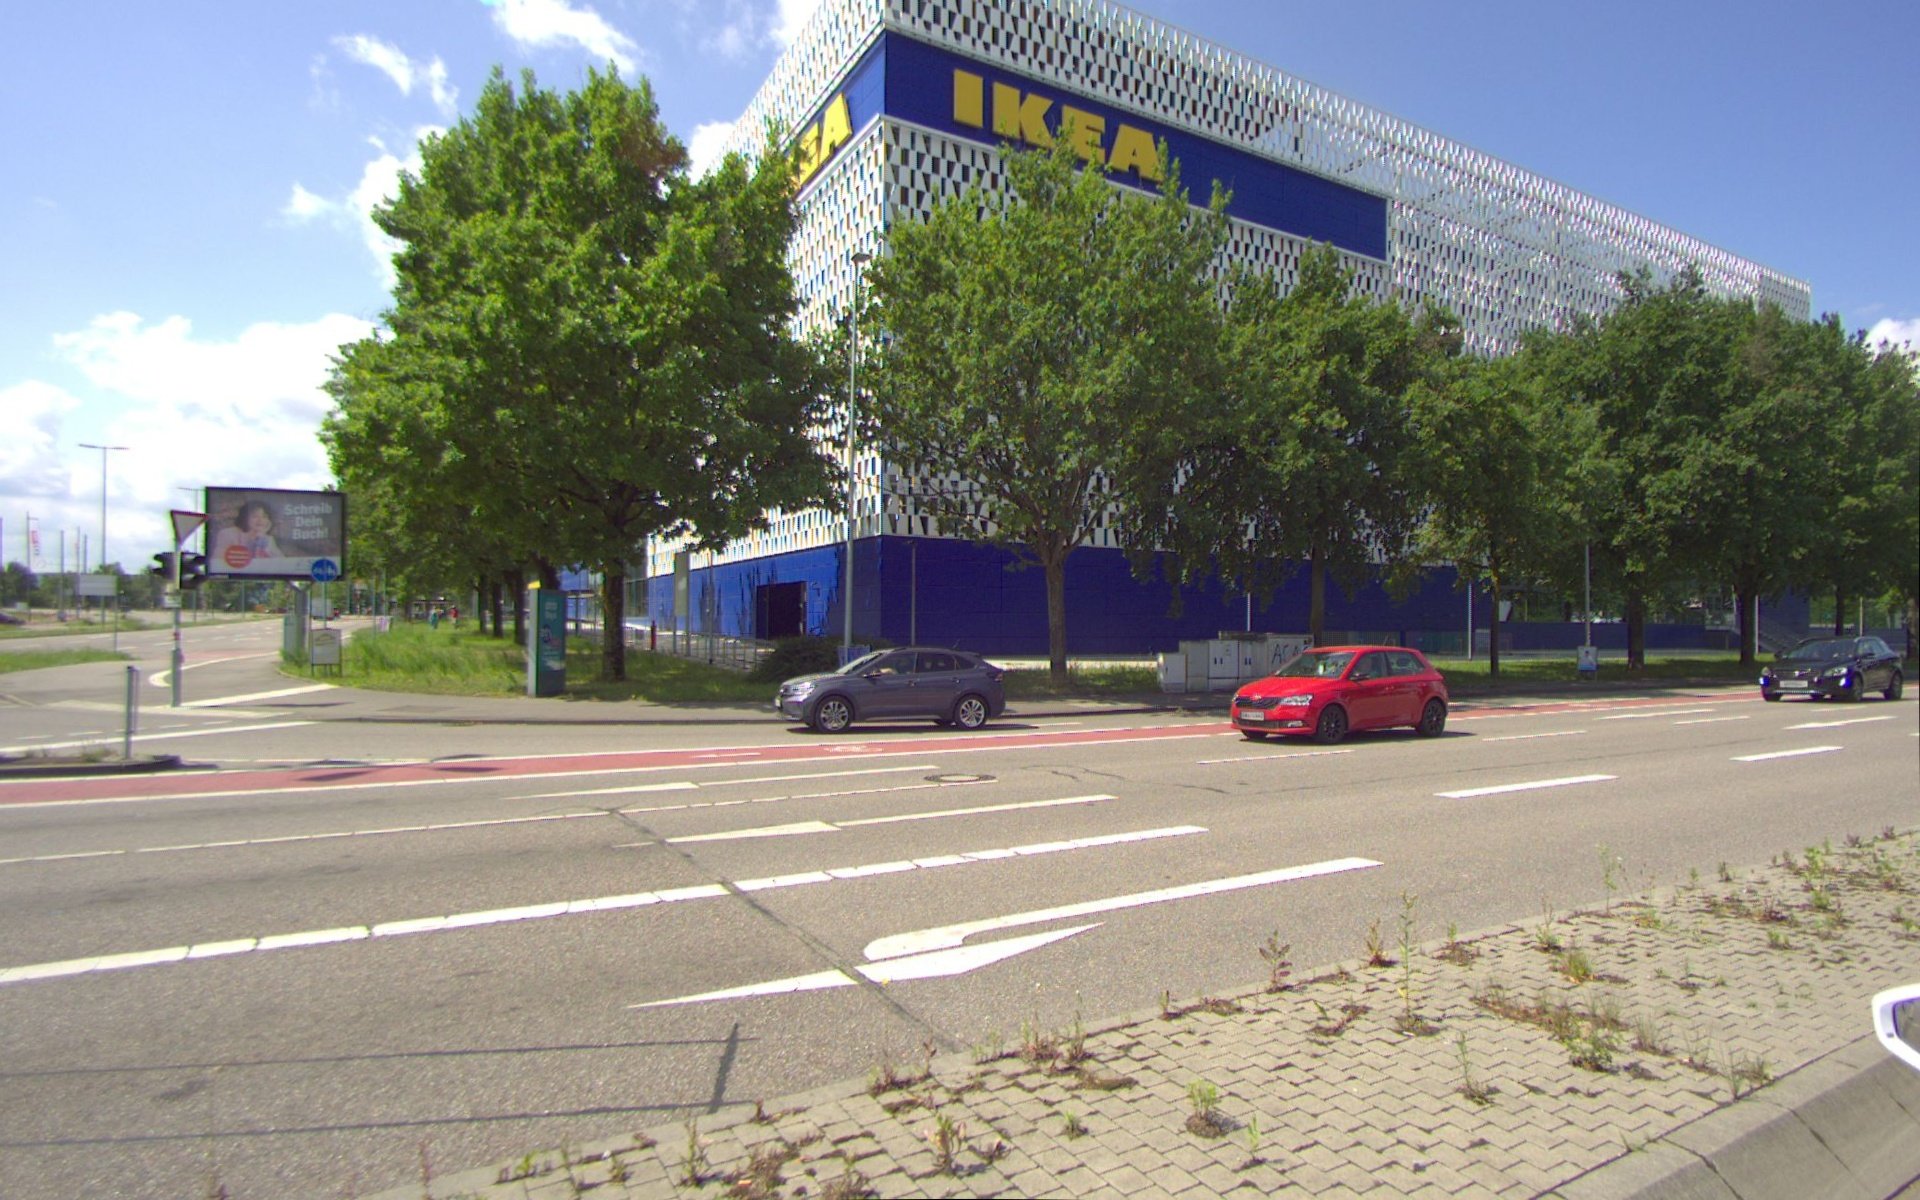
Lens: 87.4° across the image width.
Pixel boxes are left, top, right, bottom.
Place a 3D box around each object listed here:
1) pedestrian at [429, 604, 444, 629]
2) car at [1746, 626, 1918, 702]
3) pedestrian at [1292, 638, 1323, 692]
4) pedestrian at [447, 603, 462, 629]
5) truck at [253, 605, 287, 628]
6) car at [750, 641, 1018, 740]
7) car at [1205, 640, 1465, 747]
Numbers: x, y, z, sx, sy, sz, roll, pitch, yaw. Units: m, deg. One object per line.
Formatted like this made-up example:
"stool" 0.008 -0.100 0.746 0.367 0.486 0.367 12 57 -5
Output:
"pedestrian" -37.142 1.159 71.289 0.842 1.751 1.158 -1 1 -23
"car" 22.430 1.605 25.798 4.766 1.778 1.919 1 -4 -31
"pedestrian" 10.342 1.934 29.866 0.752 1.576 0.500 1 -1 -30
"pedestrian" -35.735 1.119 71.041 0.842 1.751 1.158 -1 1 -23
"truck" -88.445 2.105 128.796 2.937 2.789 5.742 -1 1 -28
"car" -1.387 1.552 18.110 4.516 1.575 1.889 1 -1 -19
"car" 6.023 1.412 16.042 4.077 1.502 1.678 1 -3 -30
